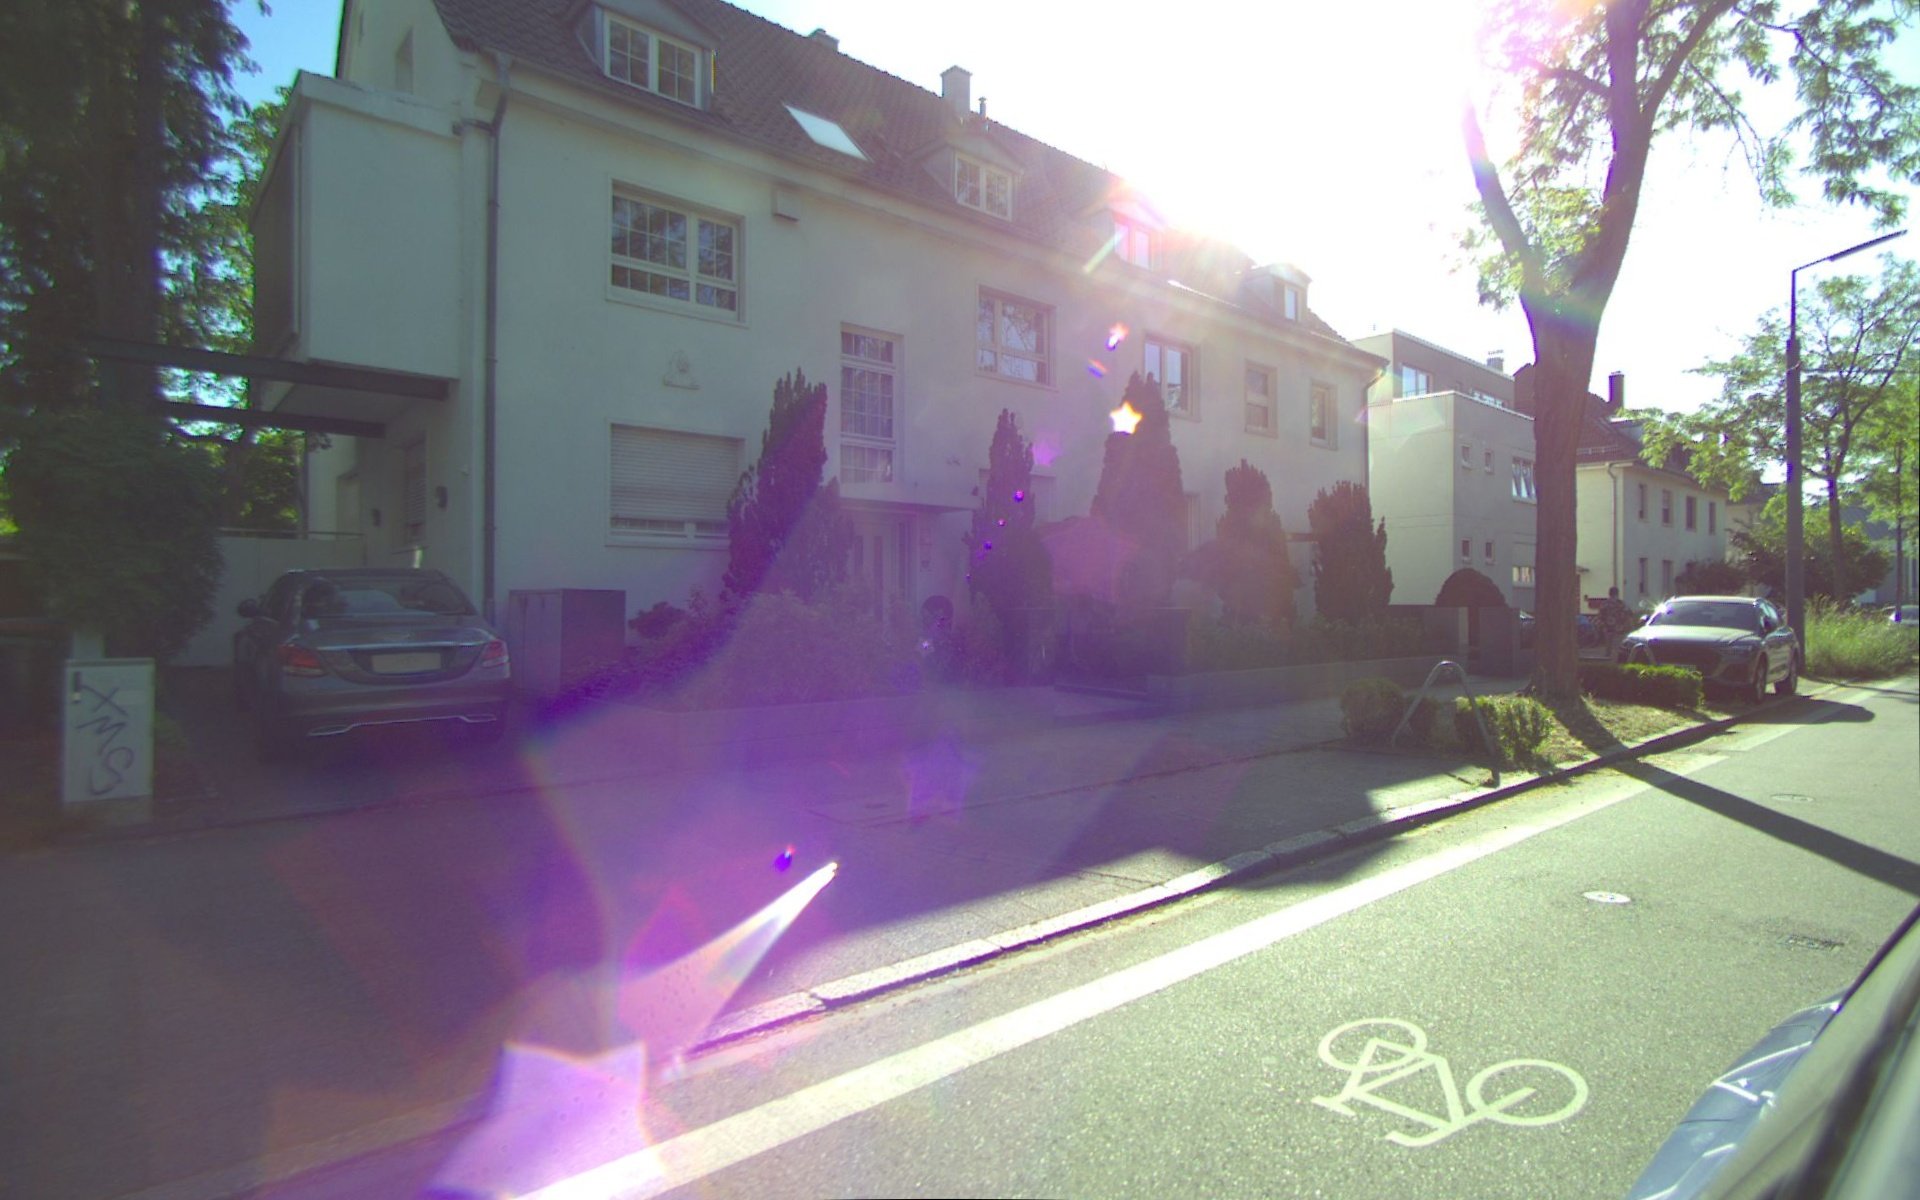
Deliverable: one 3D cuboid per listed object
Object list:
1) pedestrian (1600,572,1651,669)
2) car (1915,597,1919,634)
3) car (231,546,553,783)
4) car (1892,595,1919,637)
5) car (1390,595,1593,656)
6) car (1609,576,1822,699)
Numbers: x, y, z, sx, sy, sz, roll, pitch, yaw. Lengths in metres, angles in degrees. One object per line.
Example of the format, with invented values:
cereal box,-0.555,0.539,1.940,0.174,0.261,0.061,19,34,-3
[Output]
pedestrian,13.398,0.401,20.369,0.719,1.893,0.626,0,2,-42
car,41.321,0.661,42.216,4.366,1.513,1.751,0,1,-41
car,-5.154,0.328,8.840,1.824,1.508,4.434,0,2,-38
car,36.746,0.598,38.329,3.927,1.513,1.751,0,1,-41
car,12.979,0.567,24.877,1.844,1.359,4.058,0,0,-41
car,12.803,0.532,17.050,4.400,1.725,1.997,0,3,-42
